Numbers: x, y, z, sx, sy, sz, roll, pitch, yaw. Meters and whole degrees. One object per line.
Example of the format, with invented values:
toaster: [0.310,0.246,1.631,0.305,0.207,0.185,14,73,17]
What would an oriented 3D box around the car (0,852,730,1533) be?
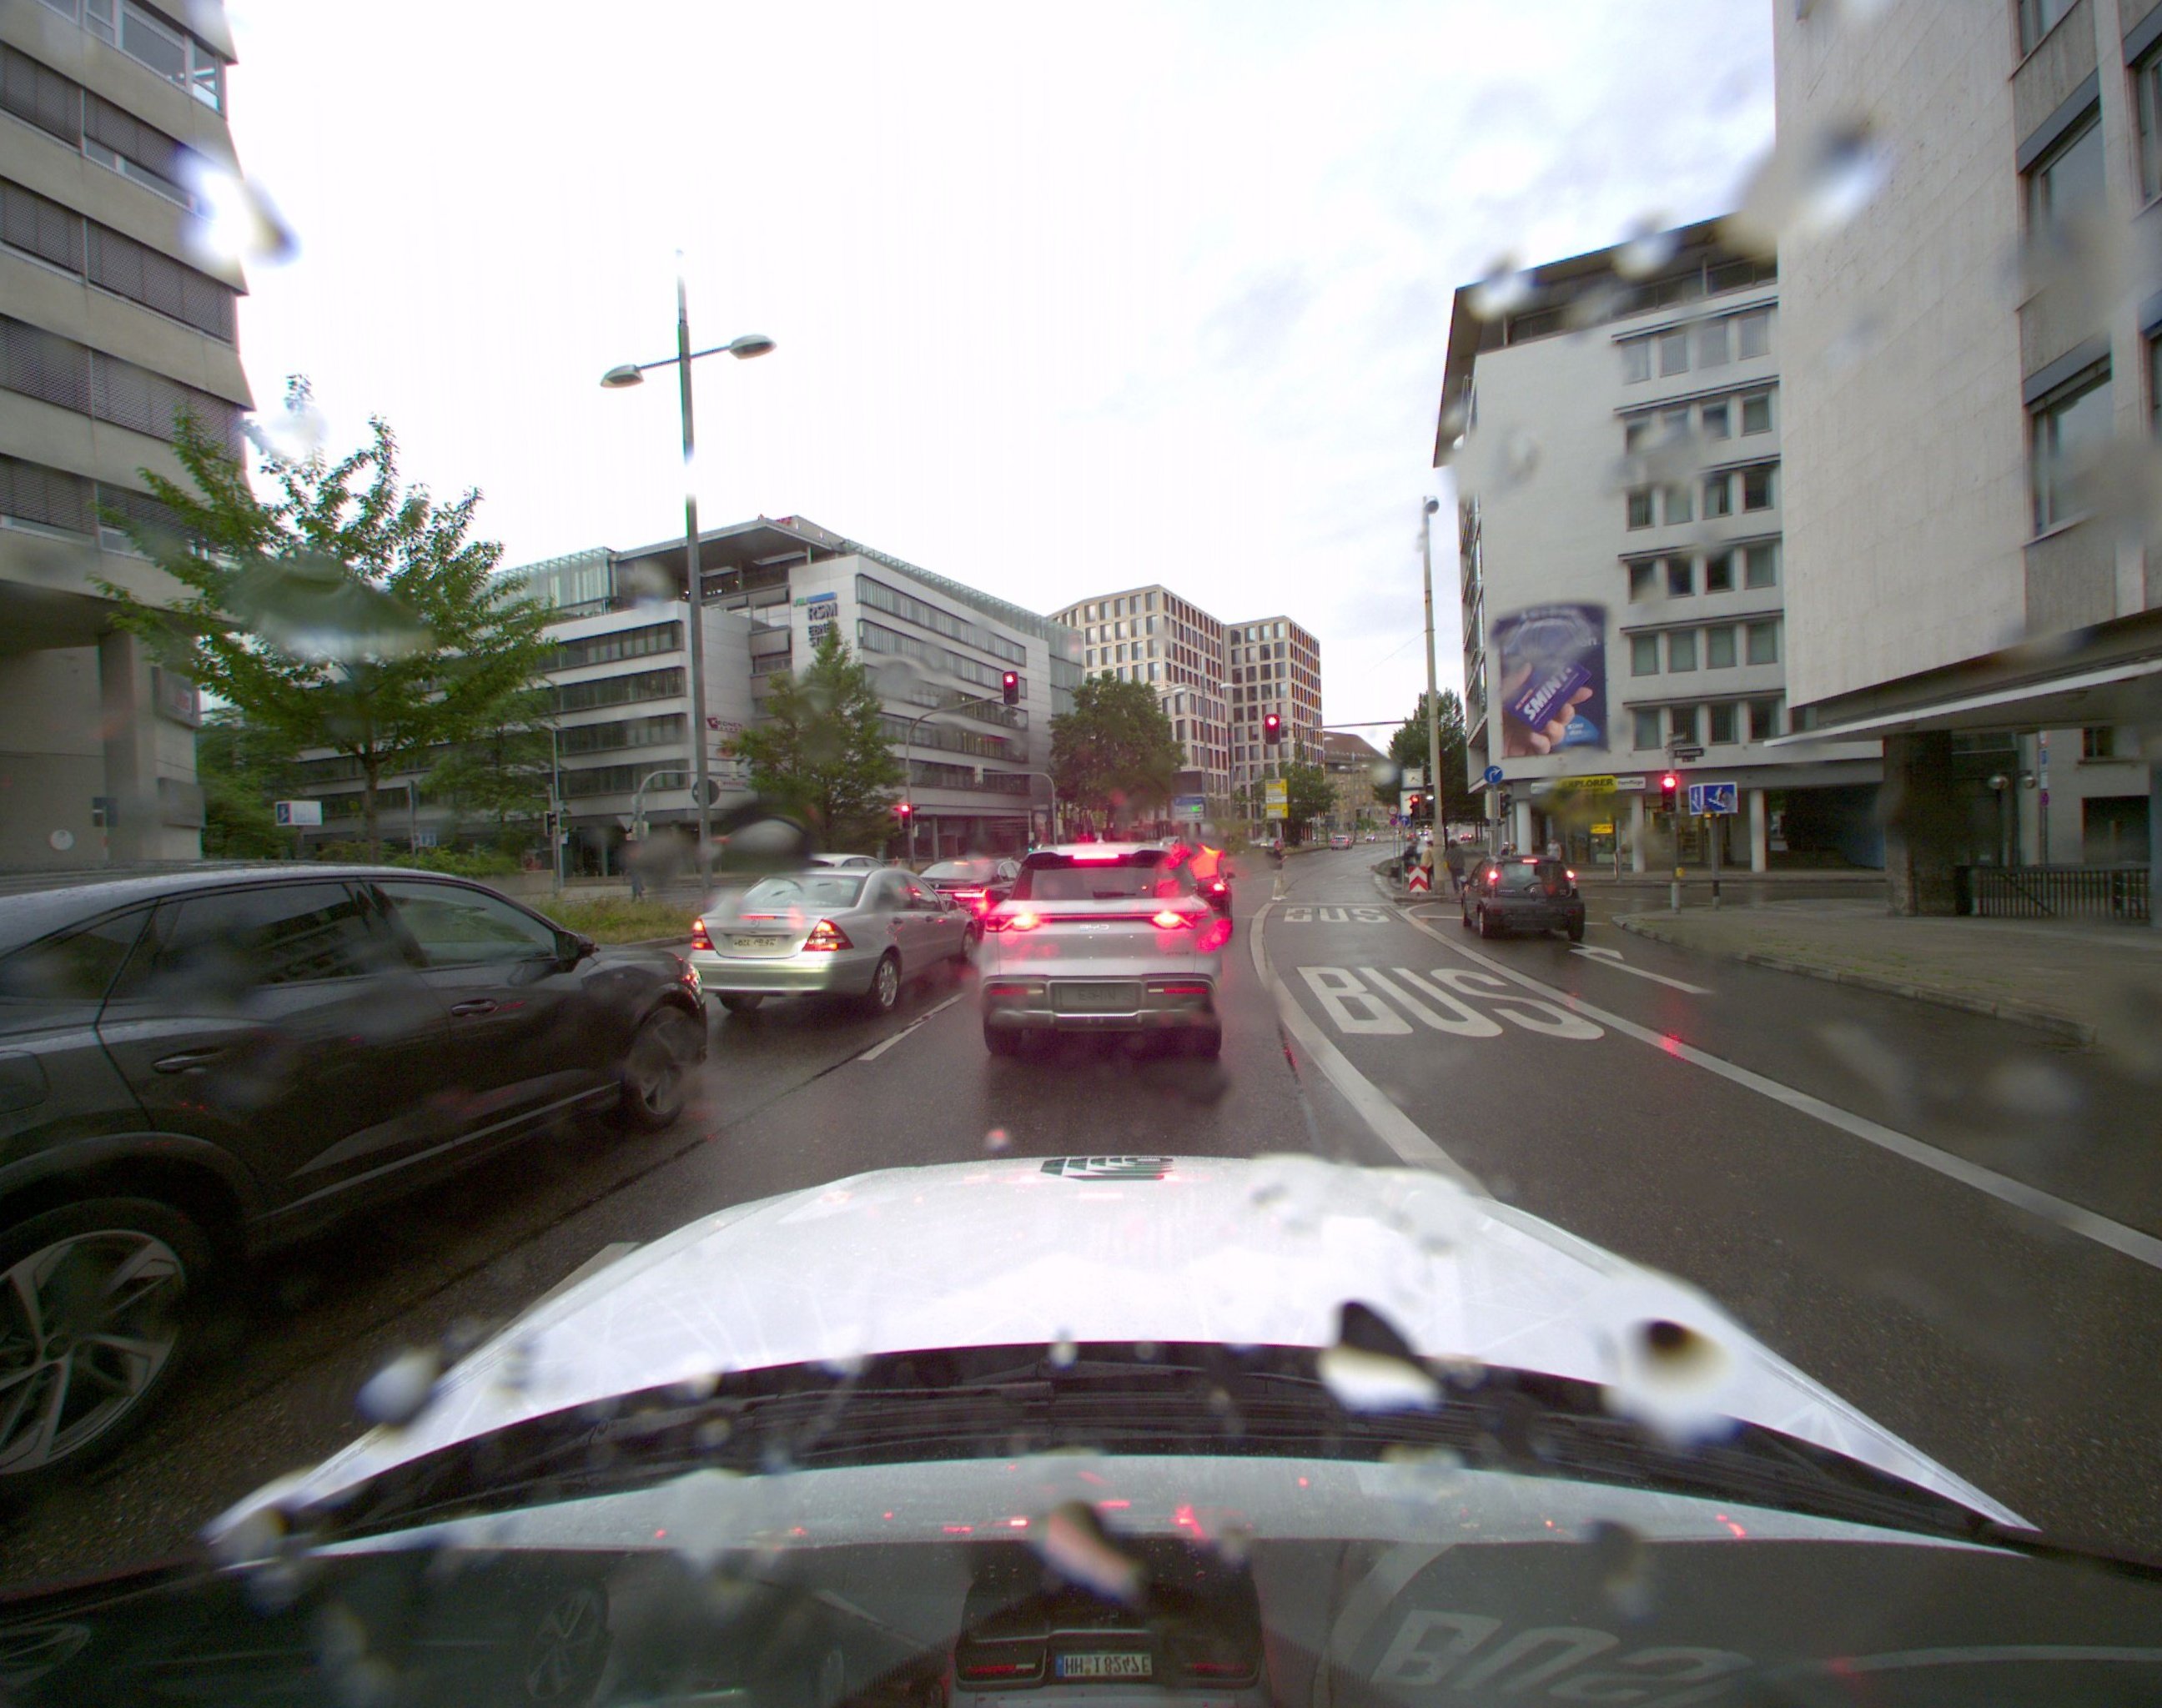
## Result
car: [-3.208,0.769,3.212,1.642,1.521,4.274,-1,0,2]

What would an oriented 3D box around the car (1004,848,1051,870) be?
car: [-4.026,0.343,62.119,1.976,1.610,4.022,-1,0,22]

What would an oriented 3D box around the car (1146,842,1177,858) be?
car: [6.945,-0.323,70.218,1.675,1.385,3.888,-1,-1,21]

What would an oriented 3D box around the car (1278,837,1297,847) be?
car: [32.214,-1.933,126.941,1.974,1.488,4.025,-1,1,29]

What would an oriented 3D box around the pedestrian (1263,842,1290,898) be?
pedestrian: [6.139,0.504,25.585,0.764,1.731,0.599,-1,0,16]

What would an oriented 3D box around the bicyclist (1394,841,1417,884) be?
bicyclist: [12.030,0.303,30.179,0.761,1.569,0.535,-1,0,20]

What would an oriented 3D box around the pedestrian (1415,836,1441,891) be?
pedestrian: [11.564,0.297,27.135,0.742,1.798,0.821,-1,1,22]

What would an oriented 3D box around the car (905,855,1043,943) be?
car: [-1.915,0.775,15.796,1.561,1.486,4.010,-1,-1,9]

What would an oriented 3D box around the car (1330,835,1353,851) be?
car: [28.177,-1.165,87.974,1.871,1.643,4.023,-1,0,24]

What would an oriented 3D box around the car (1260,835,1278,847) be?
car: [25.436,-1.720,110.162,1.629,1.581,4.108,-1,0,23]

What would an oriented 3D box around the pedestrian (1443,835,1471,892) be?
pedestrian: [12.259,0.307,26.553,0.742,1.798,0.821,-1,1,22]

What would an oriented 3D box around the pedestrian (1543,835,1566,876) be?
pedestrian: [20.543,0.061,35.351,0.778,1.794,0.662,-1,0,-45]

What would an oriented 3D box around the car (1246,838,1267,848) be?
car: [26.409,-1.667,122.722,1.974,1.488,4.025,-1,1,29]

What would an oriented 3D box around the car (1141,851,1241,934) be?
car: [2.367,0.715,16.696,1.682,1.486,4.013,-1,-1,12]

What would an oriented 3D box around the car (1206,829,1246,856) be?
car: [11.610,-0.871,65.077,1.975,2.014,4.876,-1,-1,25]

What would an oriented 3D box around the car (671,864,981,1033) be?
car: [-2.465,0.829,9.034,1.561,1.407,4.120,-1,-1,10]

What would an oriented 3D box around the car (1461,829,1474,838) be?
car: [70.665,-3.672,148.947,1.677,1.486,4.025,-1,-1,32]

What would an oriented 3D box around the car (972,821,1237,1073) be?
car: [0.290,0.642,7.486,1.768,1.679,4.004,-1,-1,4]

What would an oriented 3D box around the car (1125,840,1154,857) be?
car: [5.301,-0.511,73.745,1.630,1.536,4.171,-1,0,18]

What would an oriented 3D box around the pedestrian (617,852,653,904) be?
pedestrian: [-14.928,0.800,27.254,0.672,1.683,0.766,-1,0,15]

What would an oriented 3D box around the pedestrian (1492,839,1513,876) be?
pedestrian: [18.954,0.146,36.645,0.657,1.655,0.662,-1,0,-45]

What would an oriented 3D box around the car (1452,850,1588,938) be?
car: [8.157,0.673,15.467,1.558,1.429,4.018,-1,-1,18]

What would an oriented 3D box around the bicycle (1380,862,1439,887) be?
bicycle: [12.126,0.775,30.141,2.008,0.888,0.405,-1,0,19]

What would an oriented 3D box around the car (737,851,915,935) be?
car: [-4.970,0.710,16.513,1.696,1.486,4.013,-1,-1,11]

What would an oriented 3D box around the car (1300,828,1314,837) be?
car: [45.254,-4.311,162.829,1.590,1.741,3.467,-1,-1,34]

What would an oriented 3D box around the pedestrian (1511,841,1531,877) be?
pedestrian: [19.491,0.222,36.064,0.657,1.543,0.618,-1,0,-45]
